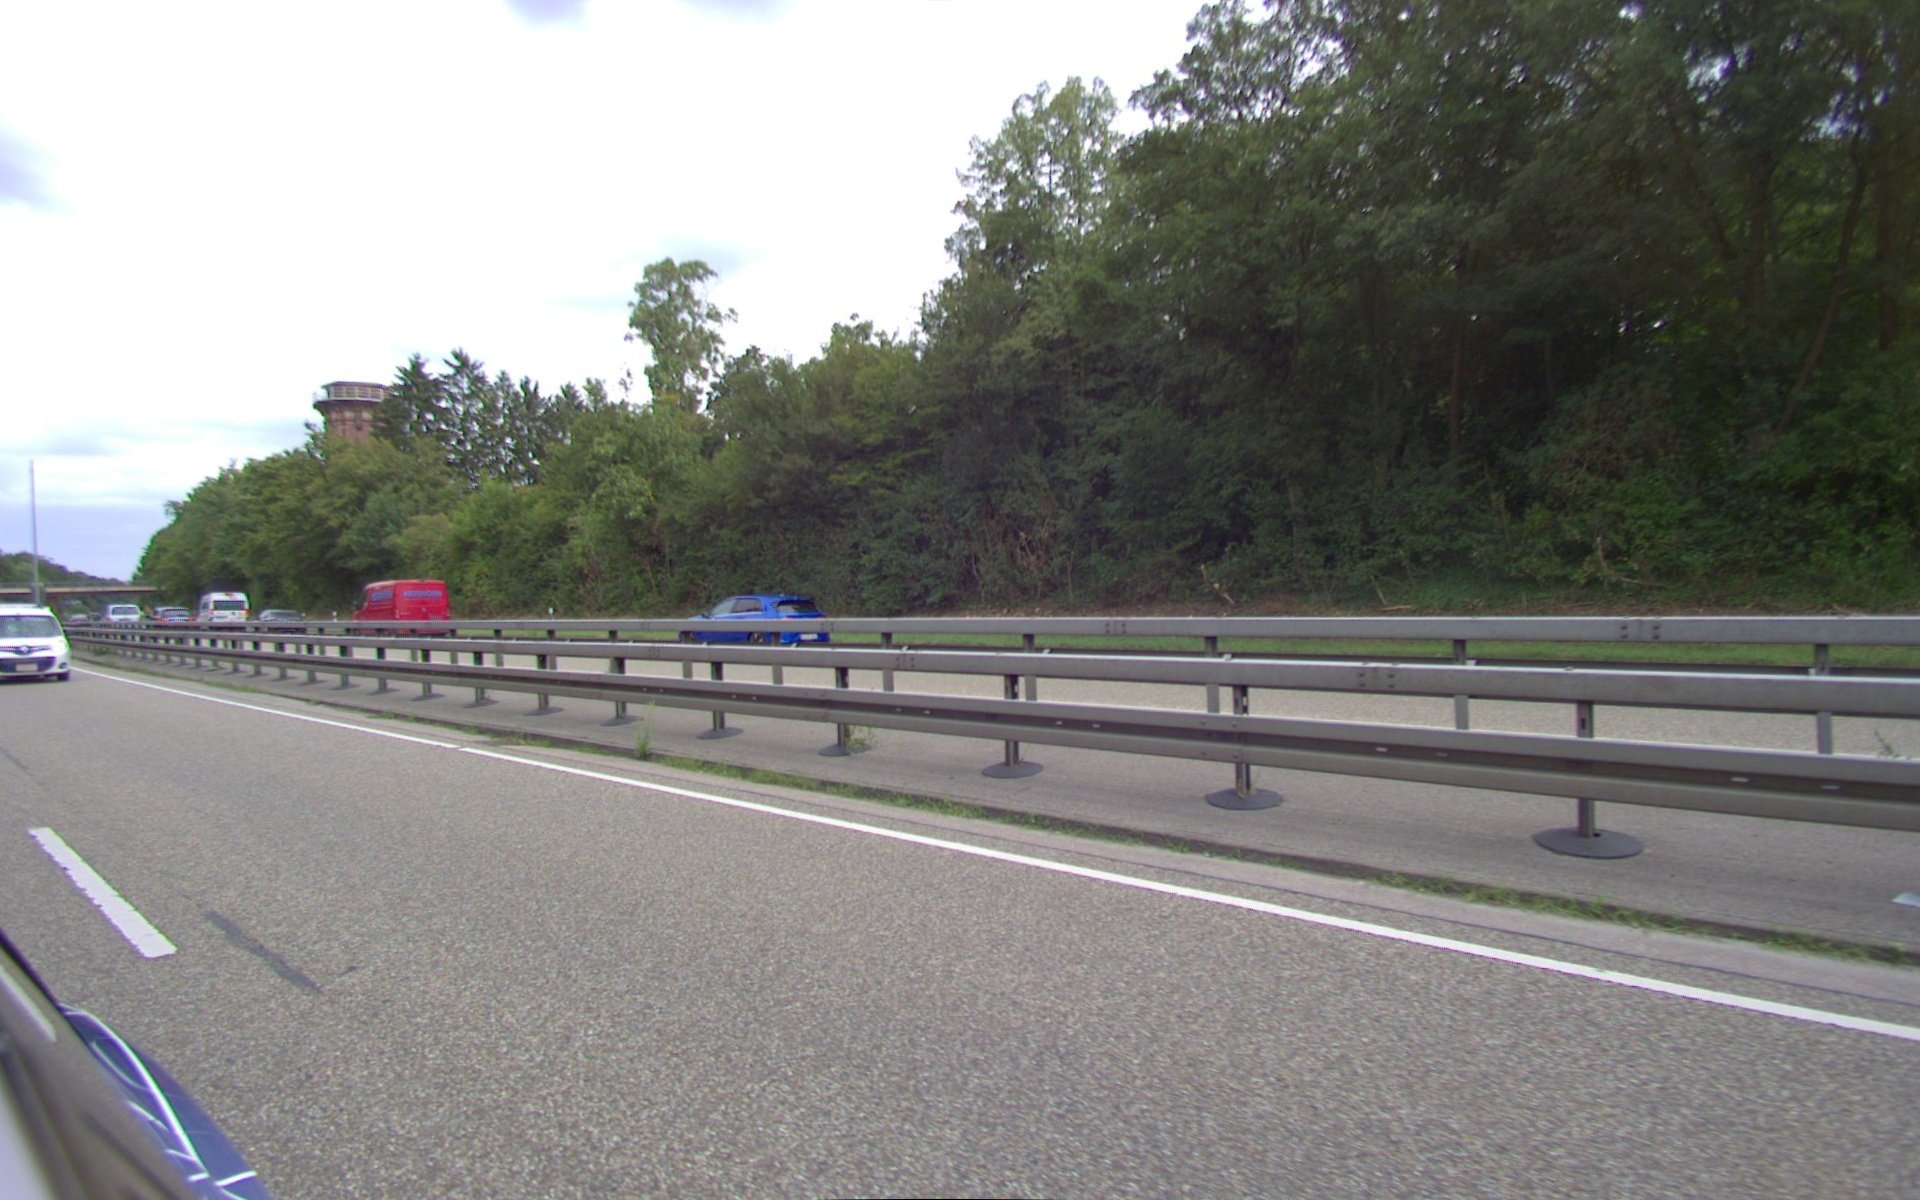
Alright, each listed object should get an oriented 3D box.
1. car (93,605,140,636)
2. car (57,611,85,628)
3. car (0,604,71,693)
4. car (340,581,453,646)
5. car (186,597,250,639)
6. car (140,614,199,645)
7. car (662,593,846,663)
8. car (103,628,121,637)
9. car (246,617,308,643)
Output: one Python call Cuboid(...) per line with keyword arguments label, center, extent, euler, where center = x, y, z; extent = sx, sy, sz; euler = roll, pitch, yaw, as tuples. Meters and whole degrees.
Cuboid(label="car", center=(-56.563, 1.336, 67.818), extent=(5.057, 1.998, 1.802), euler=(-1, -1, 43))
Cuboid(label="car", center=(-98.953, 2.191, 112.641), extent=(5.125, 1.817, 2.012), euler=(-1, -1, 44))
Cuboid(label="car", center=(-23.052, 1.127, 24.591), extent=(4.424, 2.020, 1.797), euler=(-1, -1, 44))
Cuboid(label="car", center=(-21.179, 0.512, 37.921), extent=(5.372, 2.273, 2.044), euler=(-1, -1, 41))
Cuboid(label="car", center=(-47.906, 1.144, 65.301), extent=(5.552, 2.631, 2.287), euler=(-1, -1, 42))
Cuboid(label="car", center=(-41.236, 1.516, 52.747), extent=(4.014, 1.575, 1.763), euler=(-1, -1, 42))
Cuboid(label="car", center=(-4.947, 0.635, 23.968), extent=(4.503, 1.521, 1.973), euler=(-1, -1, 41))
Cuboid(label="car", center=(-134.892, 5.182, 160.966), extent=(1.791, 1.461, 4.059), euler=(0, -1, -45))
Cuboid(label="car", center=(-35.500, 1.542, 52.559), extent=(4.106, 1.306, 1.756), euler=(-1, -1, 42))
